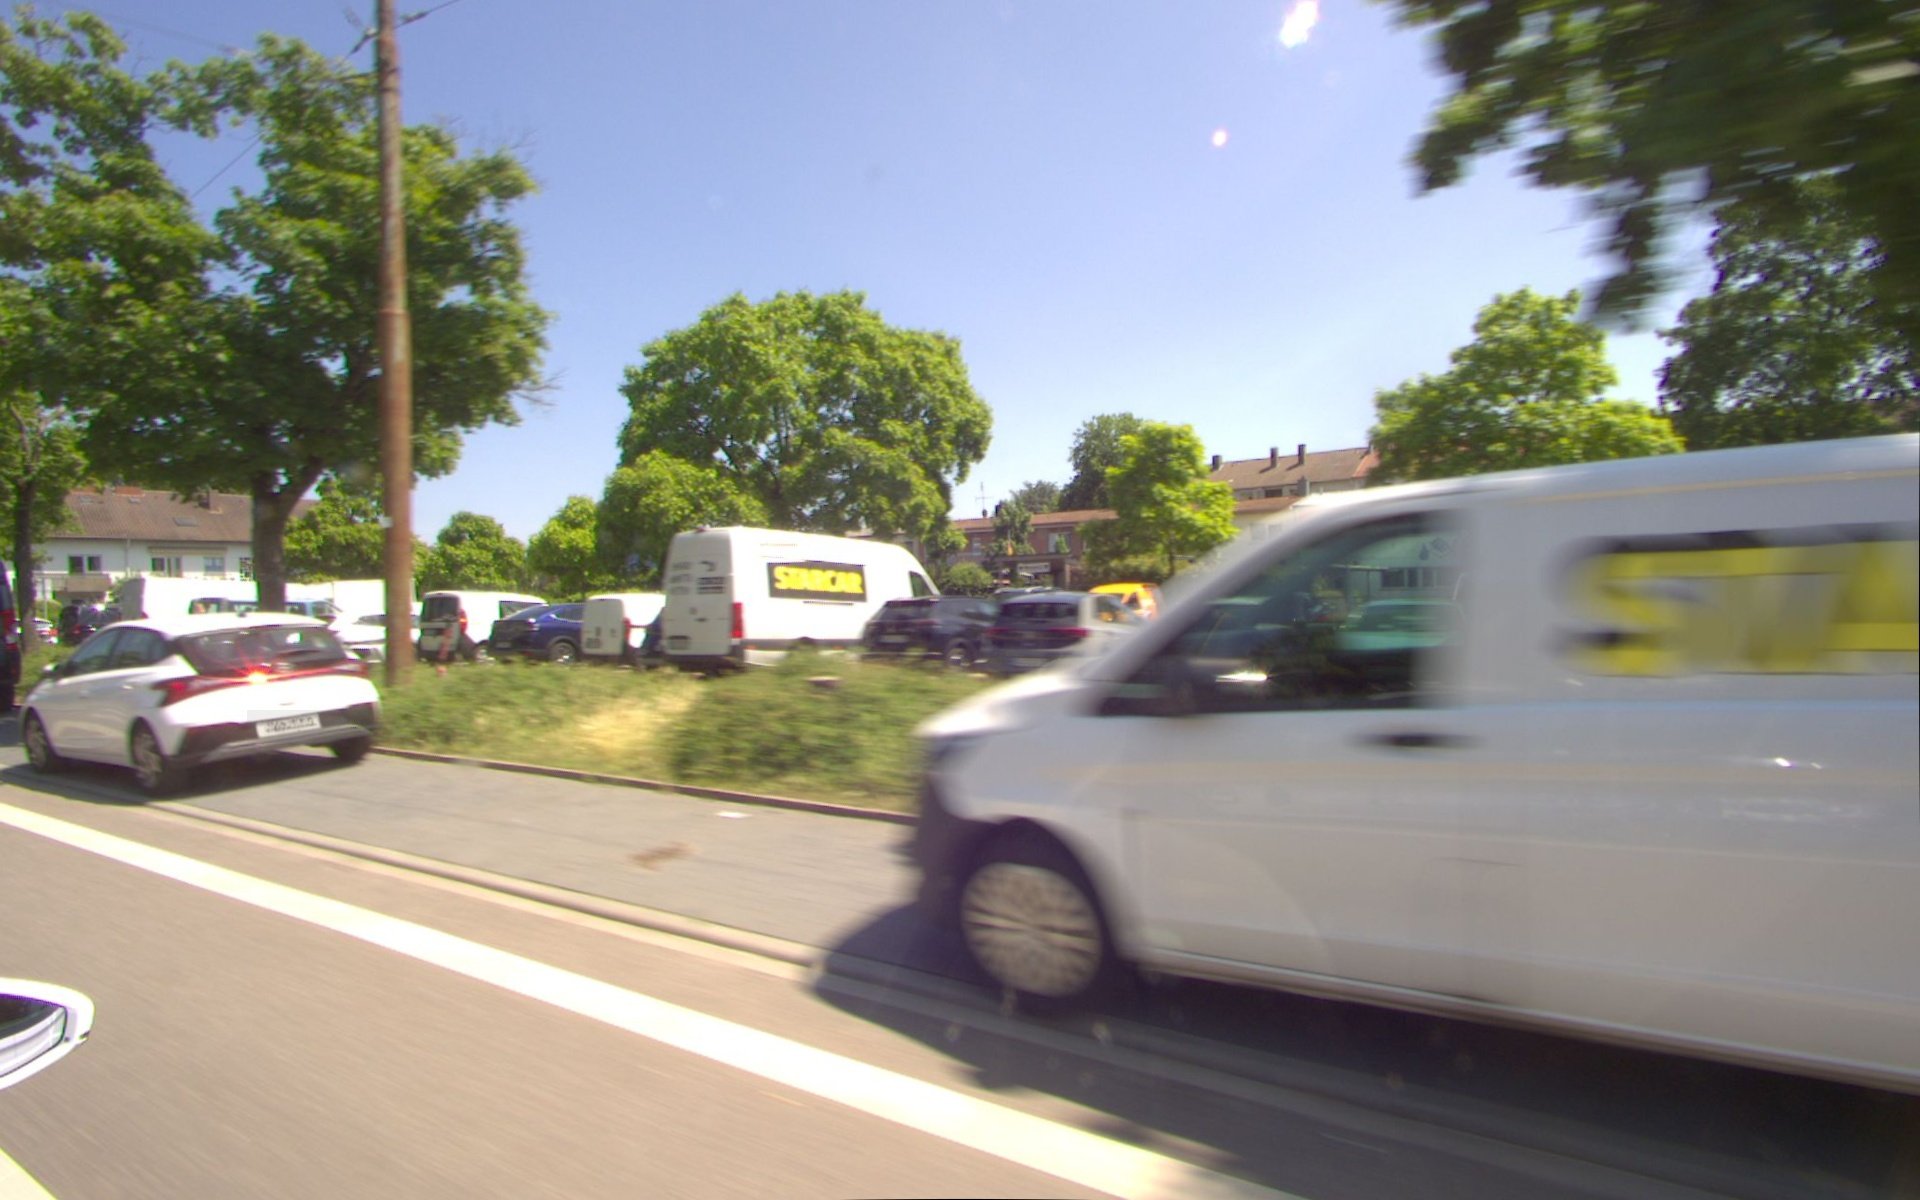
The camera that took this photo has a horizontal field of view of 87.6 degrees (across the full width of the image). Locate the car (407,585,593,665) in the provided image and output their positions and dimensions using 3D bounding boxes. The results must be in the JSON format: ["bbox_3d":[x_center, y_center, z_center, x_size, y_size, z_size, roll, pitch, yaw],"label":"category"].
[{"bbox_3d":[-11.241,0.638,24.716,1.924,1.807,3.778,0,-2,28],"label":"car"}]

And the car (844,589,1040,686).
[{"bbox_3d":[-0.196,0.649,17.553,1.702,1.491,3.883,0,-2,30],"label":"car"}]

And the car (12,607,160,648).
[{"bbox_3d":[-33.984,1.080,39.033,1.744,1.510,4.017,-1,-2,30],"label":"car"}]

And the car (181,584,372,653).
[{"bbox_3d":[-20.544,0.587,30.317,1.924,1.933,4.405,0,-2,28],"label":"car"}]

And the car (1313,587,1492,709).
[{"bbox_3d":[5.923,0.595,13.159,1.702,1.342,3.881,-1,-2,31],"label":"car"}]

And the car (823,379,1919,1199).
[{"bbox_3d":[2.098,0.435,3.455,5.052,1.943,1.874,0,3,33],"label":"car"}]

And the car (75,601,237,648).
[{"bbox_3d":[-27.611,0.863,34.532,1.744,1.510,4.017,-1,-2,30],"label":"car"}]

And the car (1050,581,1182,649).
[{"bbox_3d":[4.865,0.392,30.495,2.065,1.776,5.140,-1,2,33],"label":"car"}]

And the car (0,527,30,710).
[{"bbox_3d":[-16.973,0.333,15.615,5.991,2.673,1.992,-1,3,32],"label":"car"}]

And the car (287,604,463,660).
[{"bbox_3d":[-16.054,0.895,27.673,1.702,1.424,3.883,-1,-2,30],"label":"car"}]

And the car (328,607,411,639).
[{"bbox_3d":[-30.771,1.170,52.263,1.659,1.448,3.324,0,2,34],"label":"car"}]

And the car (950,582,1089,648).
[{"bbox_3d":[1.976,0.393,31.300,2.065,1.776,5.140,-1,2,33],"label":"car"}]

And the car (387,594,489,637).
[{"bbox_3d":[-24.798,0.720,47.710,1.727,1.832,3.993,-1,2,29],"label":"car"}]

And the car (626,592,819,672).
[{"bbox_3d":[-4.779,0.658,20.667,1.702,1.491,3.883,0,-2,30],"label":"car"}]

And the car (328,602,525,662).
[{"bbox_3d":[-13.741,0.842,26.056,1.702,1.424,4.273,-1,-2,30],"label":"car"}]

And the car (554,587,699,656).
[{"bbox_3d":[-13.495,0.806,40.945,2.065,2.493,5.475,0,2,33],"label":"car"}]

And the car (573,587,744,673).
[{"bbox_3d":[-6.618,0.672,22.262,1.703,1.739,3.366,-1,-2,32],"label":"car"}]

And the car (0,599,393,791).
[{"bbox_3d":[-7.538,0.779,9.754,4.149,1.447,1.717,-1,2,33],"label":"car"}]

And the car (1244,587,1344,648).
[{"bbox_3d":[9.248,0.427,27.511,1.609,1.456,4.299,-1,2,33],"label":"car"}]

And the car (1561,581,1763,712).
[{"bbox_3d":[8.219,0.528,12.025,1.702,1.297,3.881,-1,-2,31],"label":"car"}]

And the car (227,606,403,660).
[{"bbox_3d":[-18.281,0.938,28.554,1.701,1.424,3.885,0,-2,27],"label":"car"}]

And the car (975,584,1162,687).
[{"bbox_3d":[1.827,0.552,15.703,1.700,1.398,3.887,0,-2,26],"label":"car"}]

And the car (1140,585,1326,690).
[{"bbox_3d":[4.175,0.552,14.889,1.702,1.342,3.881,-1,-2,31],"label":"car"}]

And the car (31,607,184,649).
[{"bbox_3d":[-31.933,1.060,37.621,1.744,1.510,4.017,-1,-2,30],"label":"car"}]

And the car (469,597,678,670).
[{"bbox_3d":[-8.939,0.786,23.579,1.924,1.524,4.403,0,-2,29],"label":"car"}]

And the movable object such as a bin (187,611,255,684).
[{"bbox_3d":[-14.387,0.915,19.503,0.876,1.371,0.791,0,1,32],"label":"movable object such as a bin"}]

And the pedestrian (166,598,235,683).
[{"bbox_3d":[-15.153,0.790,19.990,0.929,1.647,0.803,0,1,32],"label":"pedestrian"}]

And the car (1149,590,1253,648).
[{"bbox_3d":[7.054,0.497,28.996,1.609,1.456,4.299,-1,2,33],"label":"car"}]

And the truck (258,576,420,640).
[{"bbox_3d":[-33.076,0.329,53.651,2.389,3.127,6.931,0,2,31],"label":"truck"}]

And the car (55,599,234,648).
[{"bbox_3d":[-29.445,0.870,36.326,1.927,1.665,4.684,-1,-2,33],"label":"car"}]

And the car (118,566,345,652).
[{"bbox_3d":[-22.986,0.352,31.875,2.065,2.491,5.480,0,-2,33],"label":"car"}]

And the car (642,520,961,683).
[{"bbox_3d":[-2.680,0.128,18.963,2.233,2.561,6.325,-1,-2,35],"label":"car"}]
